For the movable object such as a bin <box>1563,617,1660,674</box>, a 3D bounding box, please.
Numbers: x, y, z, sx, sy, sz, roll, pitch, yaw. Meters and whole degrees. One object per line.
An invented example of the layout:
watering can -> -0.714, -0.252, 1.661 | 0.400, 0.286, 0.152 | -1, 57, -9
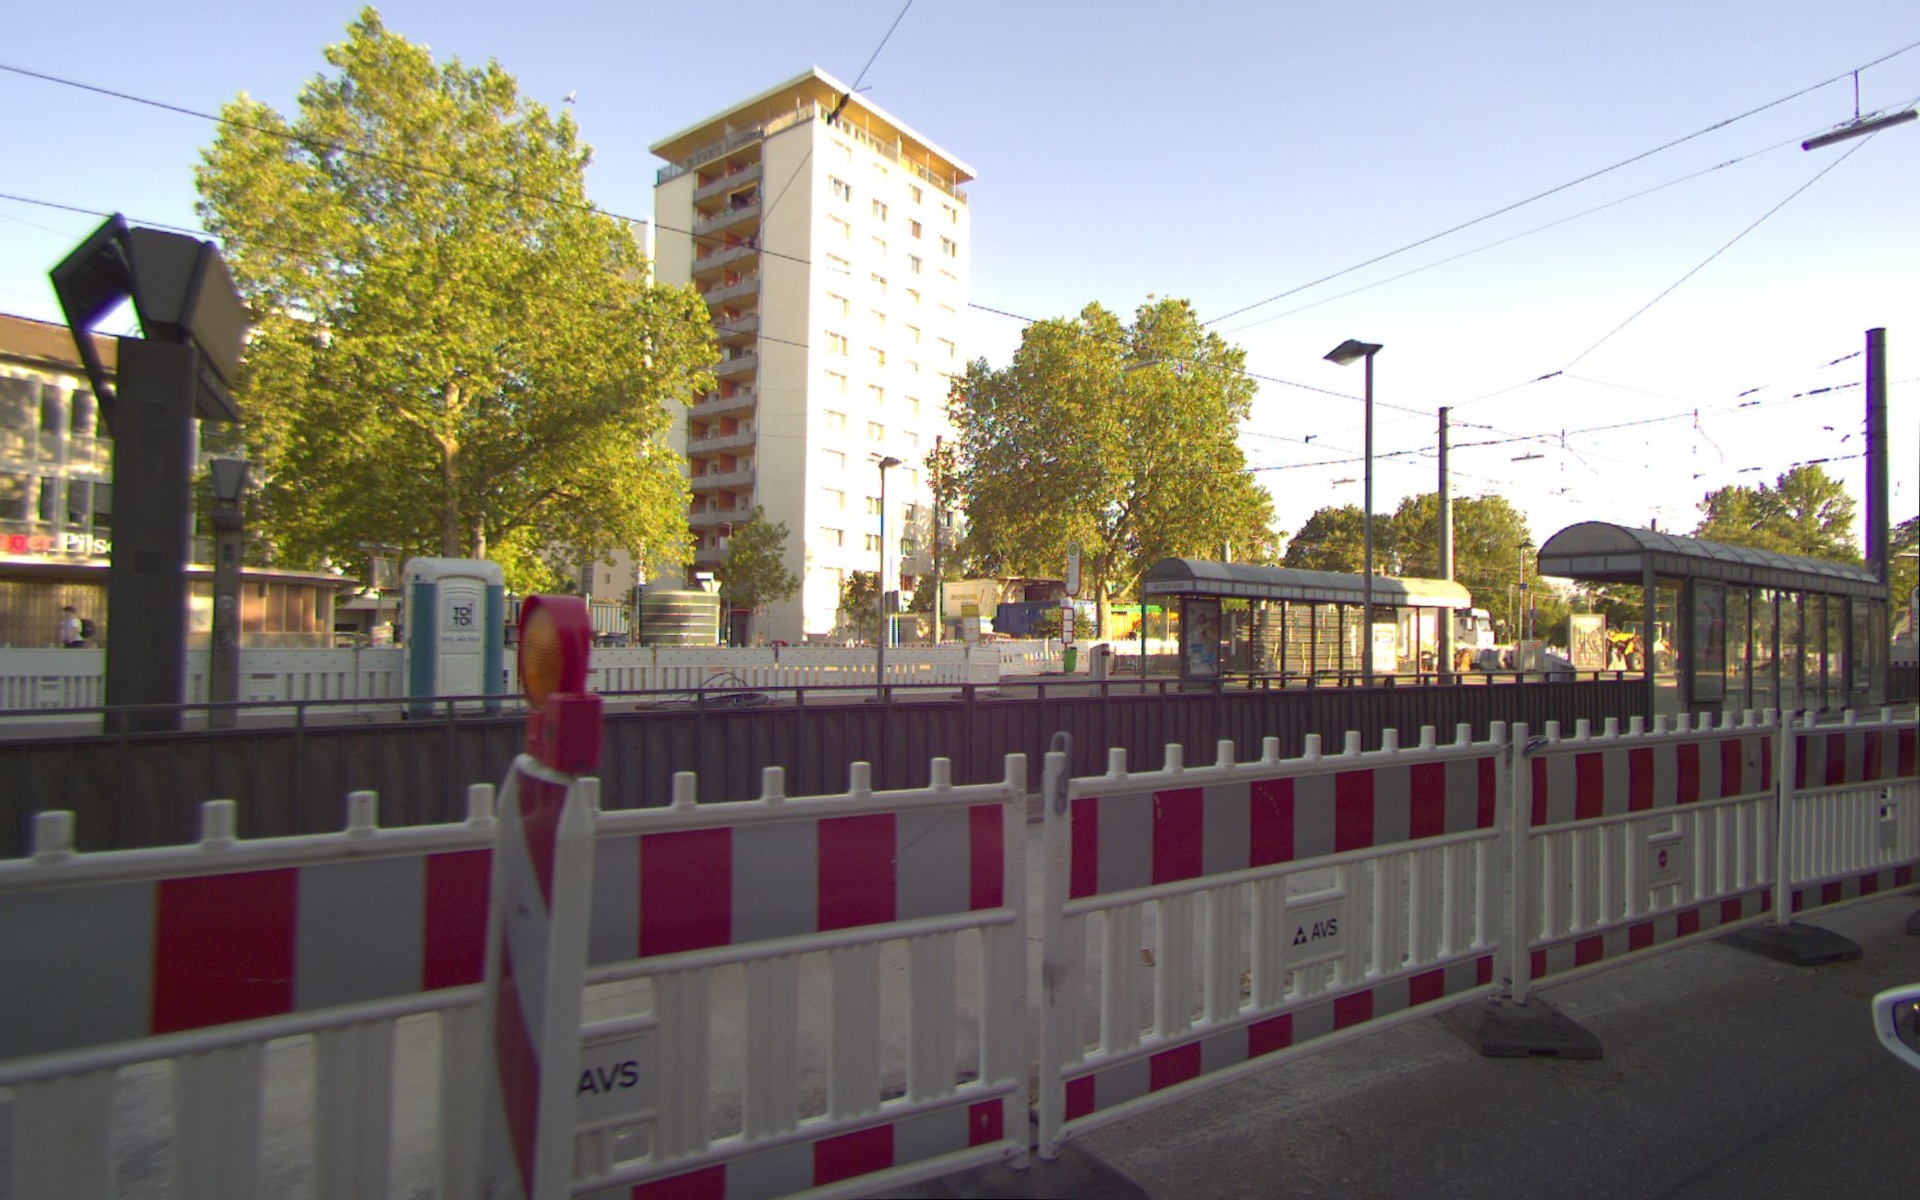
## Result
movable object such as a bin -> 32.050, 2.253, 49.394 | 4.544, 2.673, 2.141 | 2, -2, -29

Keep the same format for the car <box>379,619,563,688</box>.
car -> -12.163, 1.308, 25.060 | 3.928, 1.586, 1.794 | 2, -2, -34

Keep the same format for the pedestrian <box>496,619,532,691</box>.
pedestrian -> -12.869, 1.570, 28.978 | 0.873, 2.040, 0.881 | 1, -2, -28

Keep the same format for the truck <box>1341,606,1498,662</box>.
truck -> 33.473, 2.473, 73.656 | 2.877, 3.839, 10.315 | 3, -3, -39

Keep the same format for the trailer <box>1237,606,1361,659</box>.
trailer -> 27.184, 2.539, 81.010 | 2.874, 3.847, 9.135 | 3, -1, -41

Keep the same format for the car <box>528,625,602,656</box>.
car -> -26.901, 2.780, 68.603 | 1.964, 2.040, 4.436 | 0, -2, 30

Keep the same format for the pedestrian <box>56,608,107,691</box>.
pedestrian -> -22.179, 1.238, 25.390 | 0.880, 2.040, 0.874 | 2, -2, -39
